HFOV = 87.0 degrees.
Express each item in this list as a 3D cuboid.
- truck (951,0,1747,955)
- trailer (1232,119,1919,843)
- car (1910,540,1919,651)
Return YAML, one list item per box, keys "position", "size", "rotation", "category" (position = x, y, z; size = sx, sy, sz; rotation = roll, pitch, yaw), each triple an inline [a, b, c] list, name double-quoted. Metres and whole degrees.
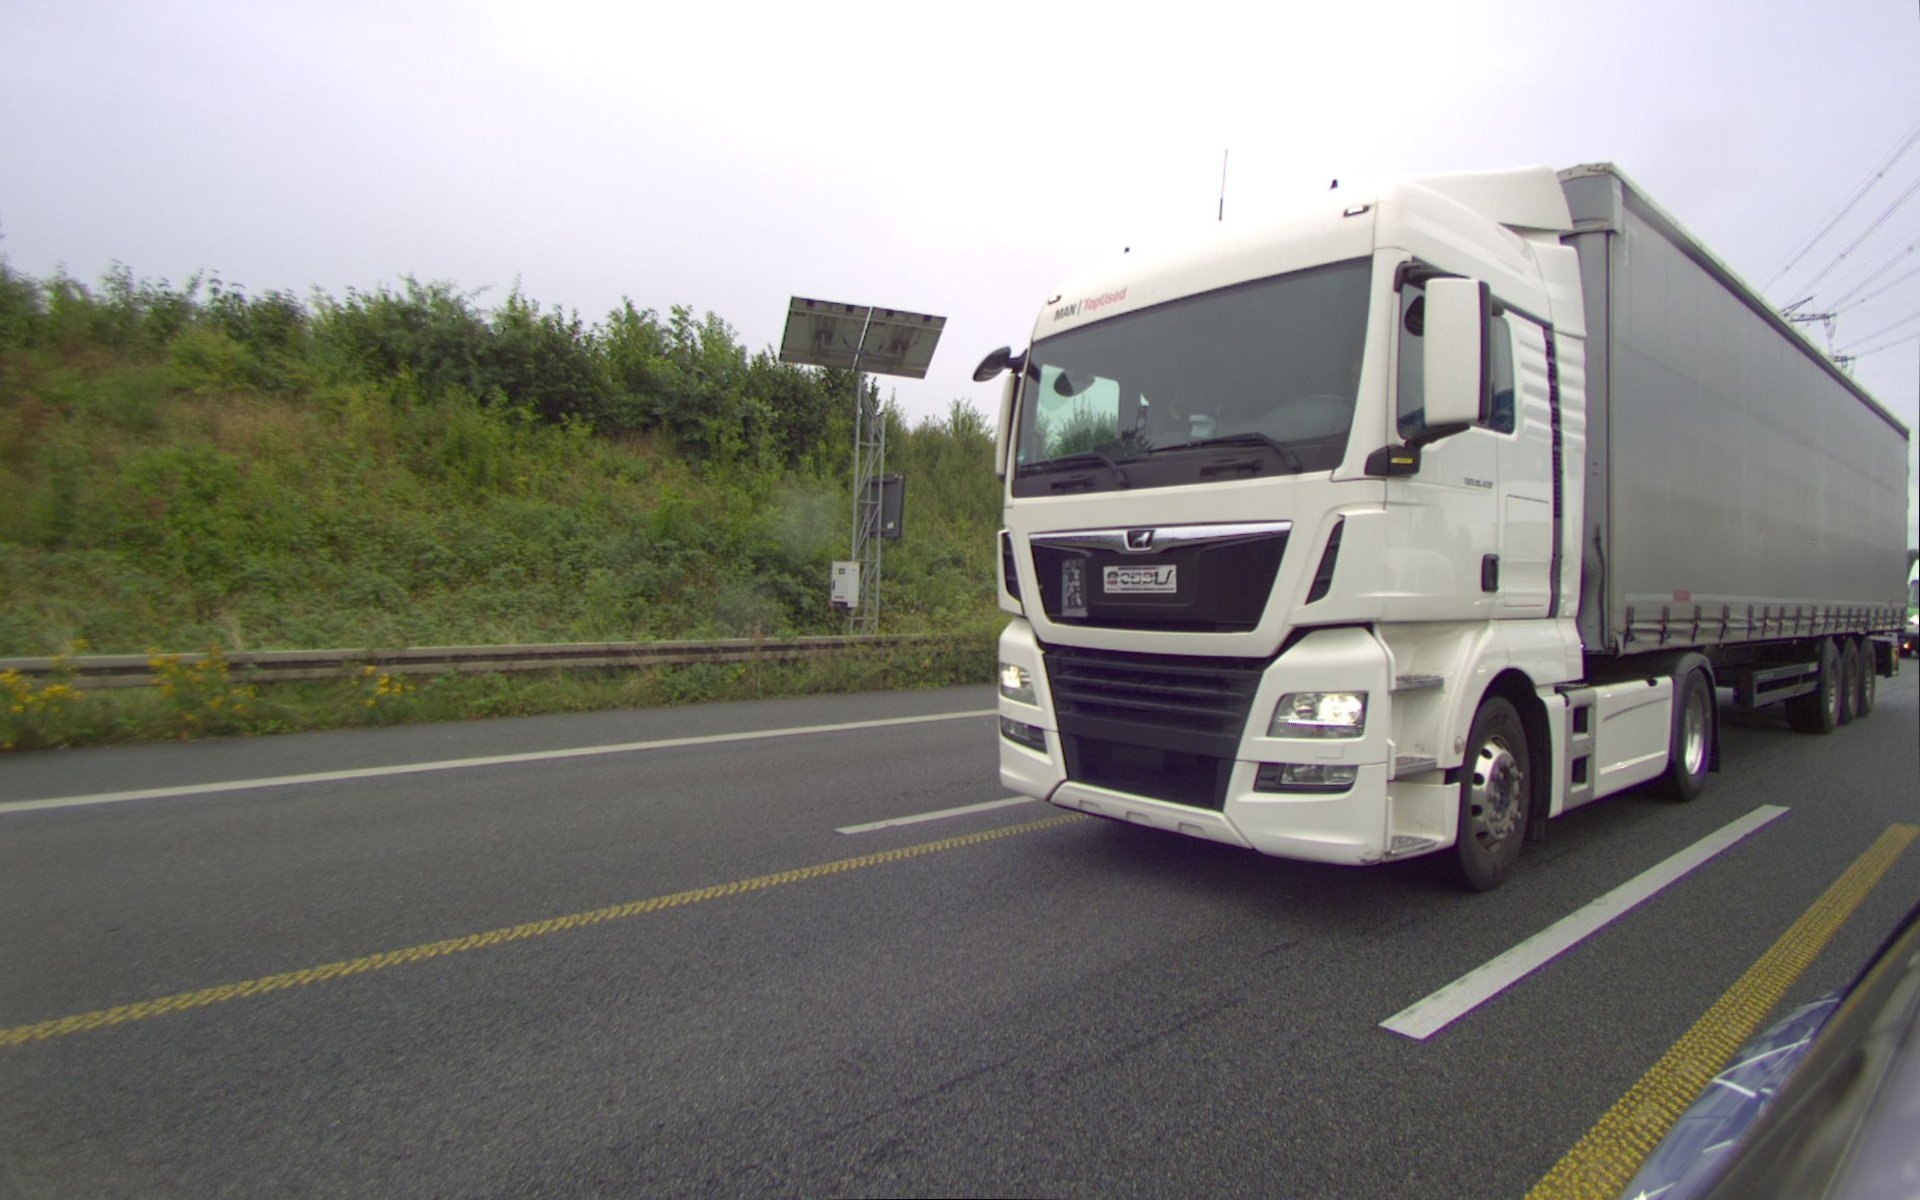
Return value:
- position: [2.947, -0.726, 6.851]
  size: [5.591, 4.190, 2.711]
  rotation: [0, 1, -41]
  category: "truck"
- position: [8.114, -0.725, 11.339]
  size: [13.491, 4.198, 2.711]
  rotation: [0, 1, -41]
  category: "trailer"
- position: [27.047, -0.096, 26.970]
  size: [5.656, 2.817, 1.997]
  rotation: [0, 1, -42]
  category: "car"
